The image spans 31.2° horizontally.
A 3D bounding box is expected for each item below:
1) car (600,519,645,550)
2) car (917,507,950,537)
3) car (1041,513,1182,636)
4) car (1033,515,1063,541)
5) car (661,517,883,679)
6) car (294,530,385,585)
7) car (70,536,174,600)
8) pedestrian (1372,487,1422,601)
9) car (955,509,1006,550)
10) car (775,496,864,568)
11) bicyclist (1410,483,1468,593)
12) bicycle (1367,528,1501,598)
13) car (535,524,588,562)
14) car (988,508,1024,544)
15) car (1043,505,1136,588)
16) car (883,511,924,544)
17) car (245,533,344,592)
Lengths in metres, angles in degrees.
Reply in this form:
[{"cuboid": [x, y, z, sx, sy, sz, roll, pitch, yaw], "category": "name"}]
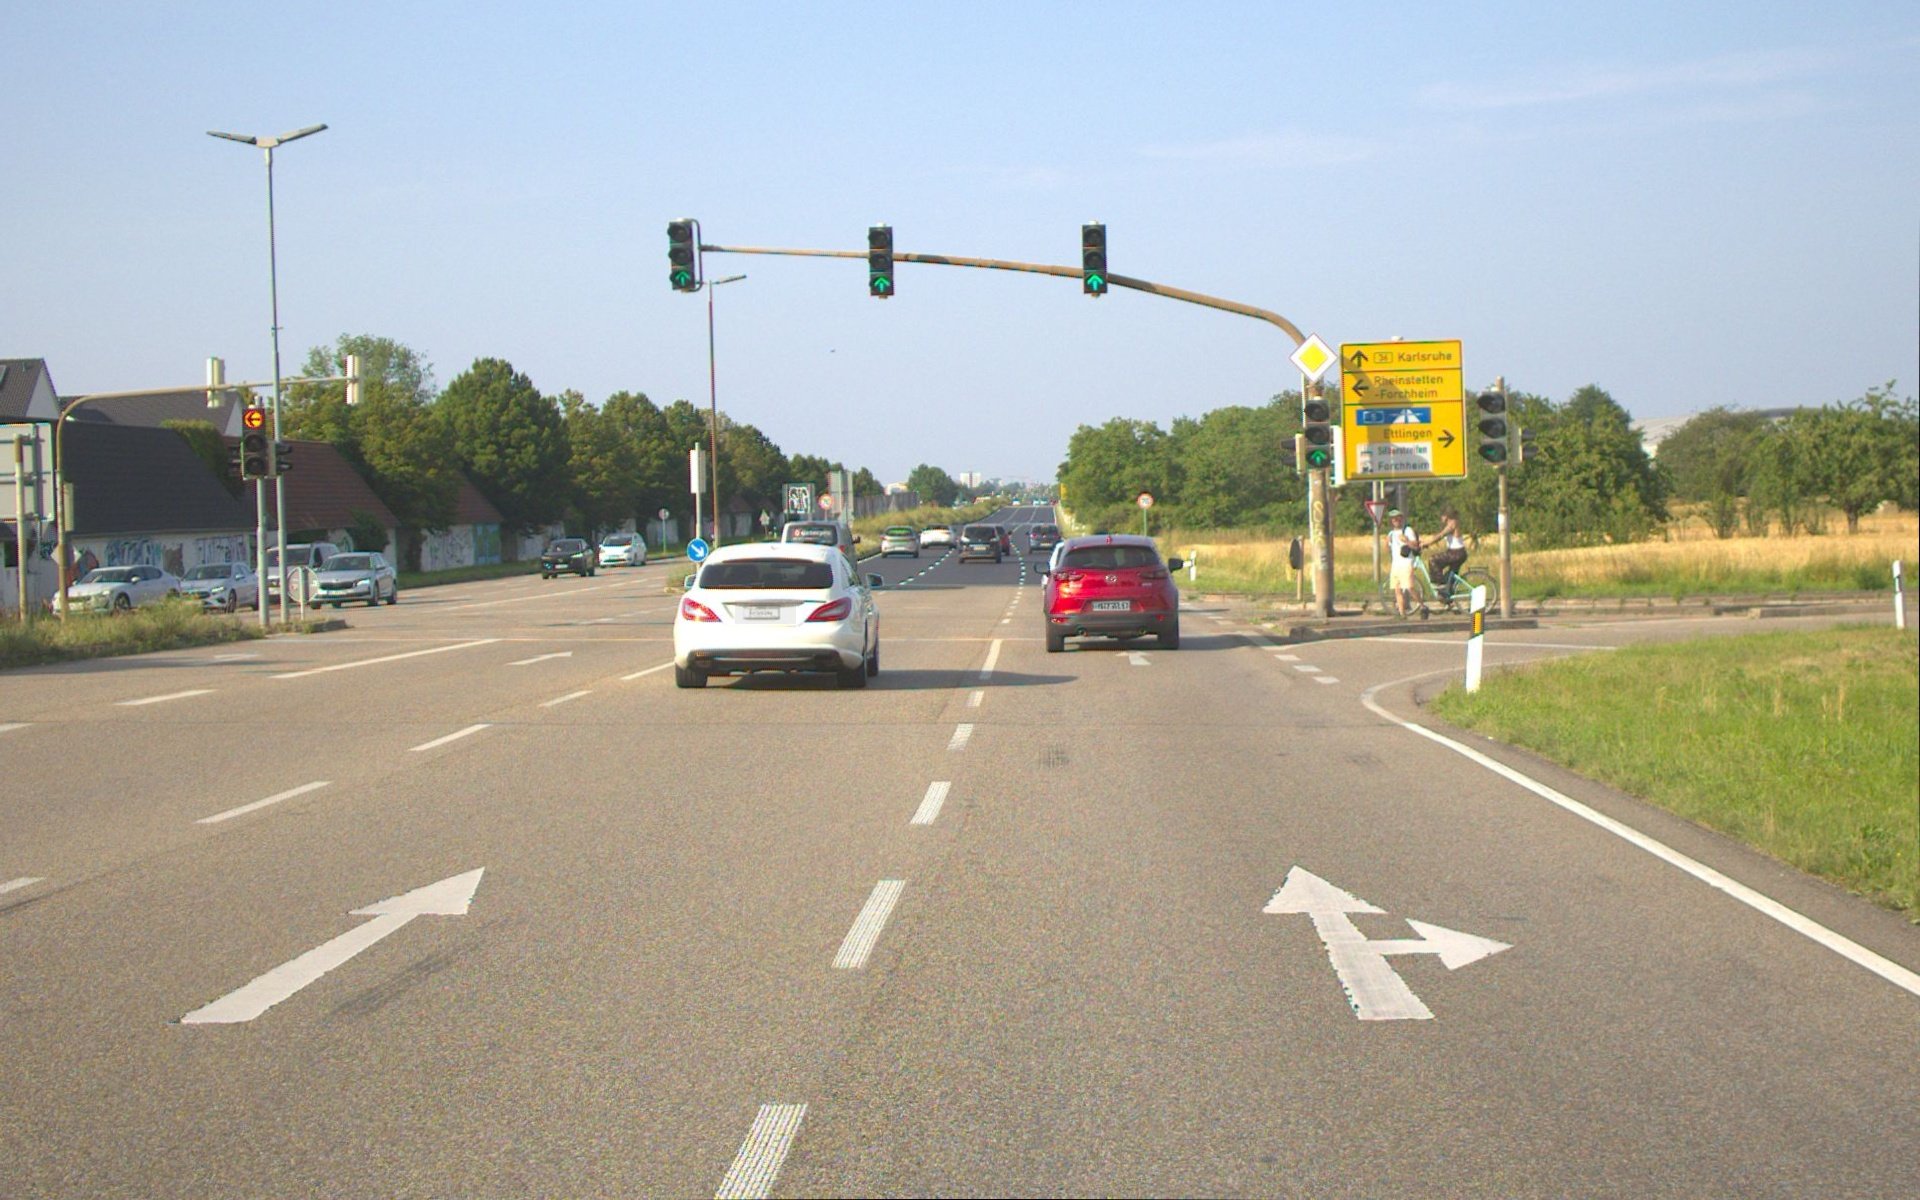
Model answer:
[{"cuboid": [-16.811, -3.289, 171.396, 1.993, 1.492, 4.001, 0, 2, -2], "category": "car"}, {"cuboid": [-1.493, -4.377, 192.966, 1.776, 1.660, 3.664, 0, 2, -2], "category": "car"}, {"cuboid": [2.026, -0.371, 45.998, 1.754, 1.511, 4.000, -1, 2, 3], "category": "car"}, {"cuboid": [4.430, -3.657, 173.484, 1.439, 1.279, 2.914, 0, 2, 3], "category": "car"}, {"cuboid": [-1.828, -0.065, 34.653, 1.894, 1.503, 4.000, -1, 2, 2], "category": "car"}, {"cuboid": [-16.864, -1.171, 93.577, 1.783, 1.432, 4.358, 0, 2, -2], "category": "car"}, {"cuboid": [-22.031, -0.863, 90.516, 1.889, 1.612, 3.857, 0, 2, -2], "category": "car"}, {"cuboid": [6.731, -0.868, 53.009, 0.710, 1.745, 0.862, 0, 2, 4], "category": "pedestrian"}, {"cuboid": [0.879, -2.947, 143.622, 1.839, 1.678, 4.000, 0, 2, 4], "category": "car"}, {"cuboid": [-3.827, -1.891, 94.634, 2.025, 1.885, 4.958, 0, 2, 3], "category": "car"}, {"cuboid": [7.681, -1.005, 55.142, 0.848, 1.749, 0.799, 0, 1, 3], "category": "bicyclist"}, {"cuboid": [7.593, -0.599, 55.176, 2.096, 1.085, 0.807, 0, 2, 6], "category": "bicycle"}, {"cuboid": [-16.238, -2.341, 140.307, 1.822, 1.503, 3.798, 0, 2, -2], "category": "car"}, {"cuboid": [2.241, -3.593, 166.094, 1.710, 1.730, 3.868, 0, 2, 1], "category": "car"}, {"cuboid": [2.490, -1.049, 65.821, 1.730, 1.524, 3.474, 0, 2, 3], "category": "car"}, {"cuboid": [-2.626, -3.392, 160.543, 1.717, 1.487, 3.584, 0, 2, 2], "category": "car"}, {"cuboid": [-20.104, -1.151, 104.019, 1.997, 1.681, 4.576, 0, 2, 1], "category": "car"}]
